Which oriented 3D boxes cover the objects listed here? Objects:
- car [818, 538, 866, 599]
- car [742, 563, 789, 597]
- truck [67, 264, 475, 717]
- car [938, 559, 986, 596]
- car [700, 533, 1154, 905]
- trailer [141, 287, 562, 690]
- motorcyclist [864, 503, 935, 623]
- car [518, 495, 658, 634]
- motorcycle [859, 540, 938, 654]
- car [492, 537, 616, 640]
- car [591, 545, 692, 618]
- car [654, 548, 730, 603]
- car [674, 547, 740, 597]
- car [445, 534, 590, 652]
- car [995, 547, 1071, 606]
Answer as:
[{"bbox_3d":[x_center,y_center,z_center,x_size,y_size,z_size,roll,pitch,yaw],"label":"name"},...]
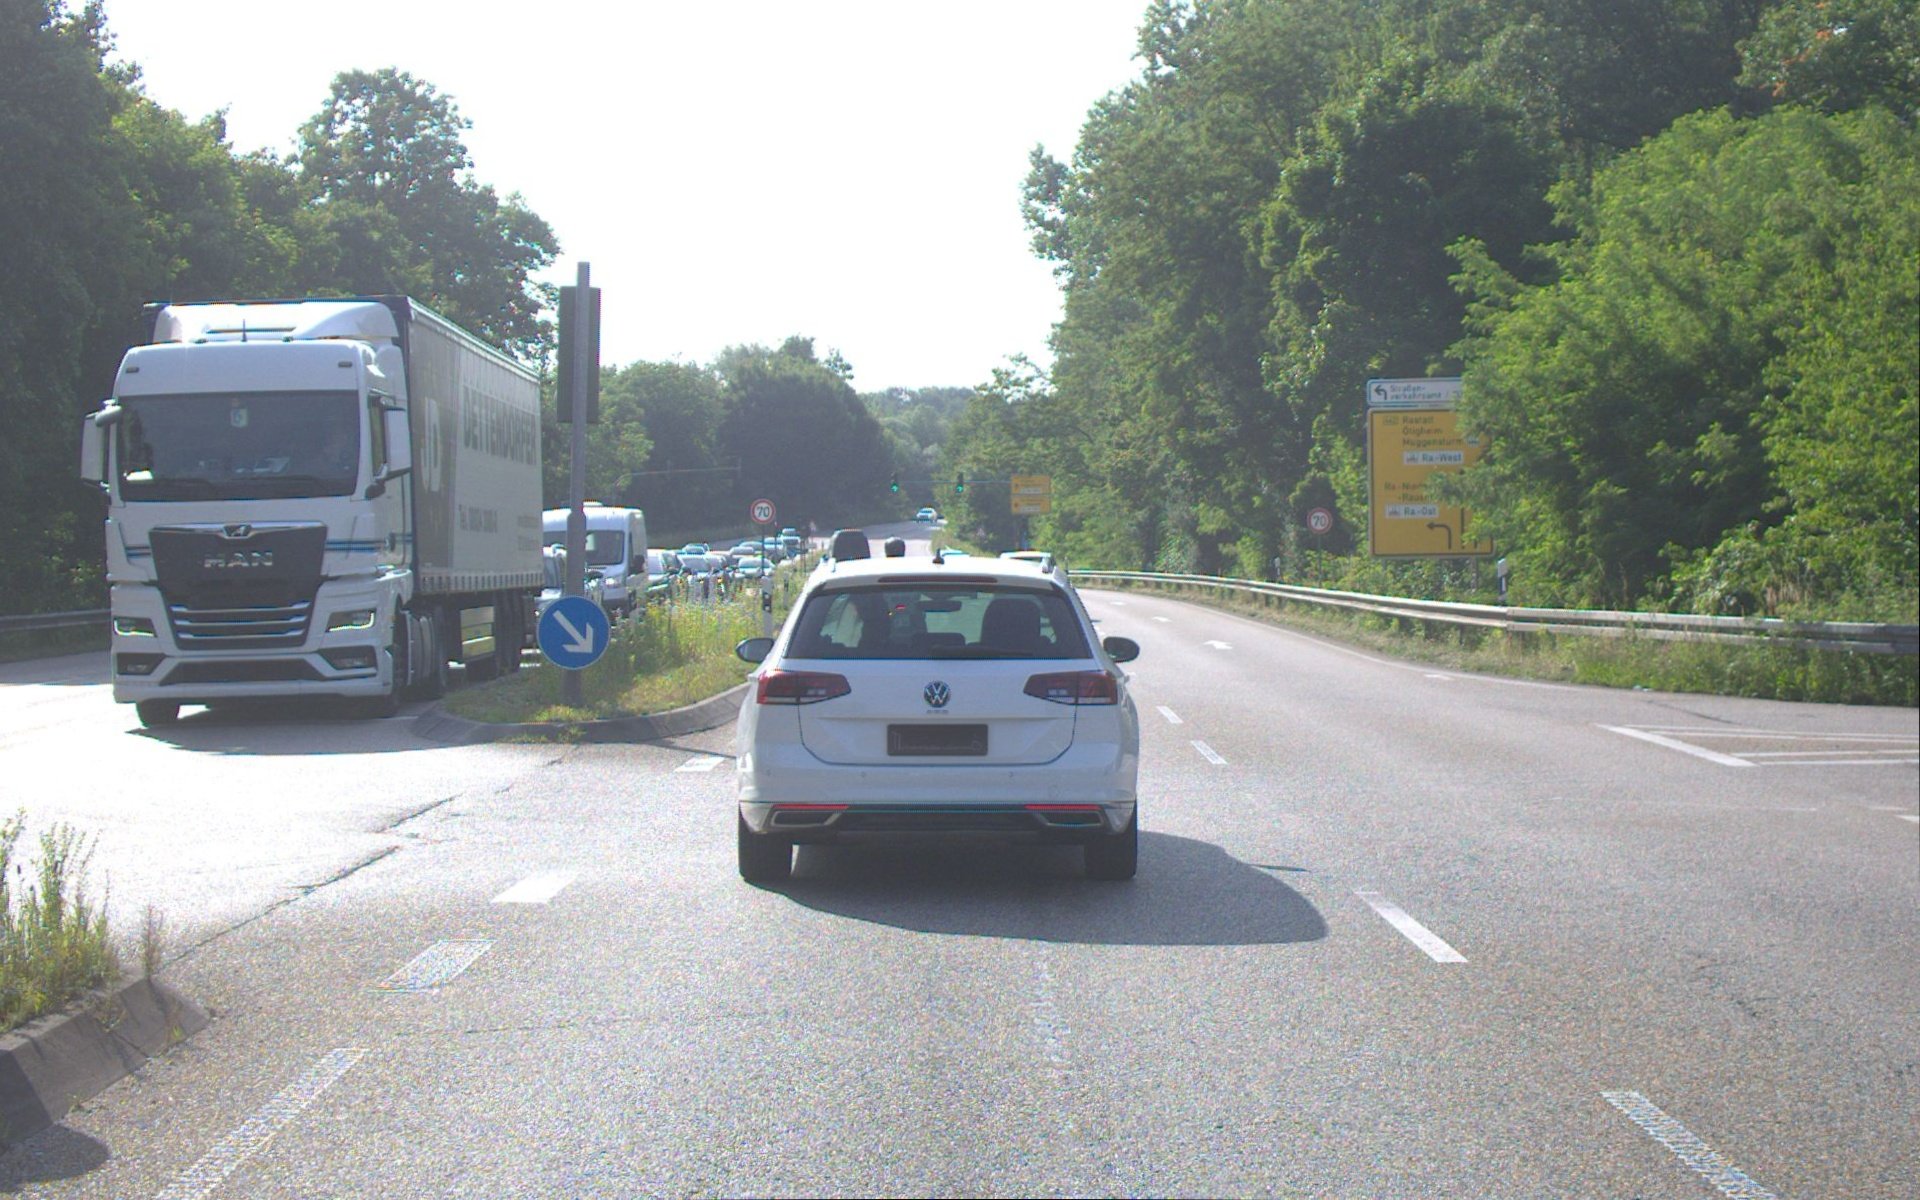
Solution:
[{"bbox_3d":[-5.827,-1.598,170.667,2.210,2.878,7.012,-1,1,-1],"label":"car"},{"bbox_3d":[-8.735,-0.912,154.753,1.867,1.412,4.416,-1,1,-1],"label":"car"},{"bbox_3d":[-6.552,-1.031,33.694,2.890,3.983,6.723,0,1,-2],"label":"truck"},{"bbox_3d":[0.092,-0.992,150.886,1.744,1.532,3.927,1,1,-5],"label":"car"},{"bbox_3d":[-0.194,0.455,16.819,1.870,1.516,4.834,1,1,-1],"label":"car"},{"bbox_3d":[-6.861,-1.251,41.212,2.991,3.982,14.016,1,1,-2],"label":"trailer"},{"bbox_3d":[-0.824,-0.511,47.024,0.884,1.610,1.290,1,1,1],"label":"motorcyclist"},{"bbox_3d":[-7.152,-0.717,66.731,2.075,2.525,6.164,-1,1,-1],"label":"car"},{"bbox_3d":[-0.828,-0.062,47.129,0.909,1.448,2.689,-3,1,1],"label":"motorcycle"},{"bbox_3d":[-6.896,-0.235,58.743,1.700,1.626,4.748,-1,1,-2],"label":"car"},{"bbox_3d":[-6.889,-0.429,74.729,1.760,1.451,5.186,-1,1,-1],"label":"car"},{"bbox_3d":[-7.531,-0.704,96.823,1.771,1.418,5.193,-1,1,-1],"label":"car"},{"bbox_3d":[-7.611,-0.858,103.822,1.707,1.418,4.212,-1,1,-1],"label":"car"},{"bbox_3d":[-6.501,-0.140,50.902,1.700,1.626,4.371,-1,1,-2],"label":"car"},{"bbox_3d":[1.769,-0.594,84.609,1.761,1.375,3.972,1,1,0],"label":"car"}]
